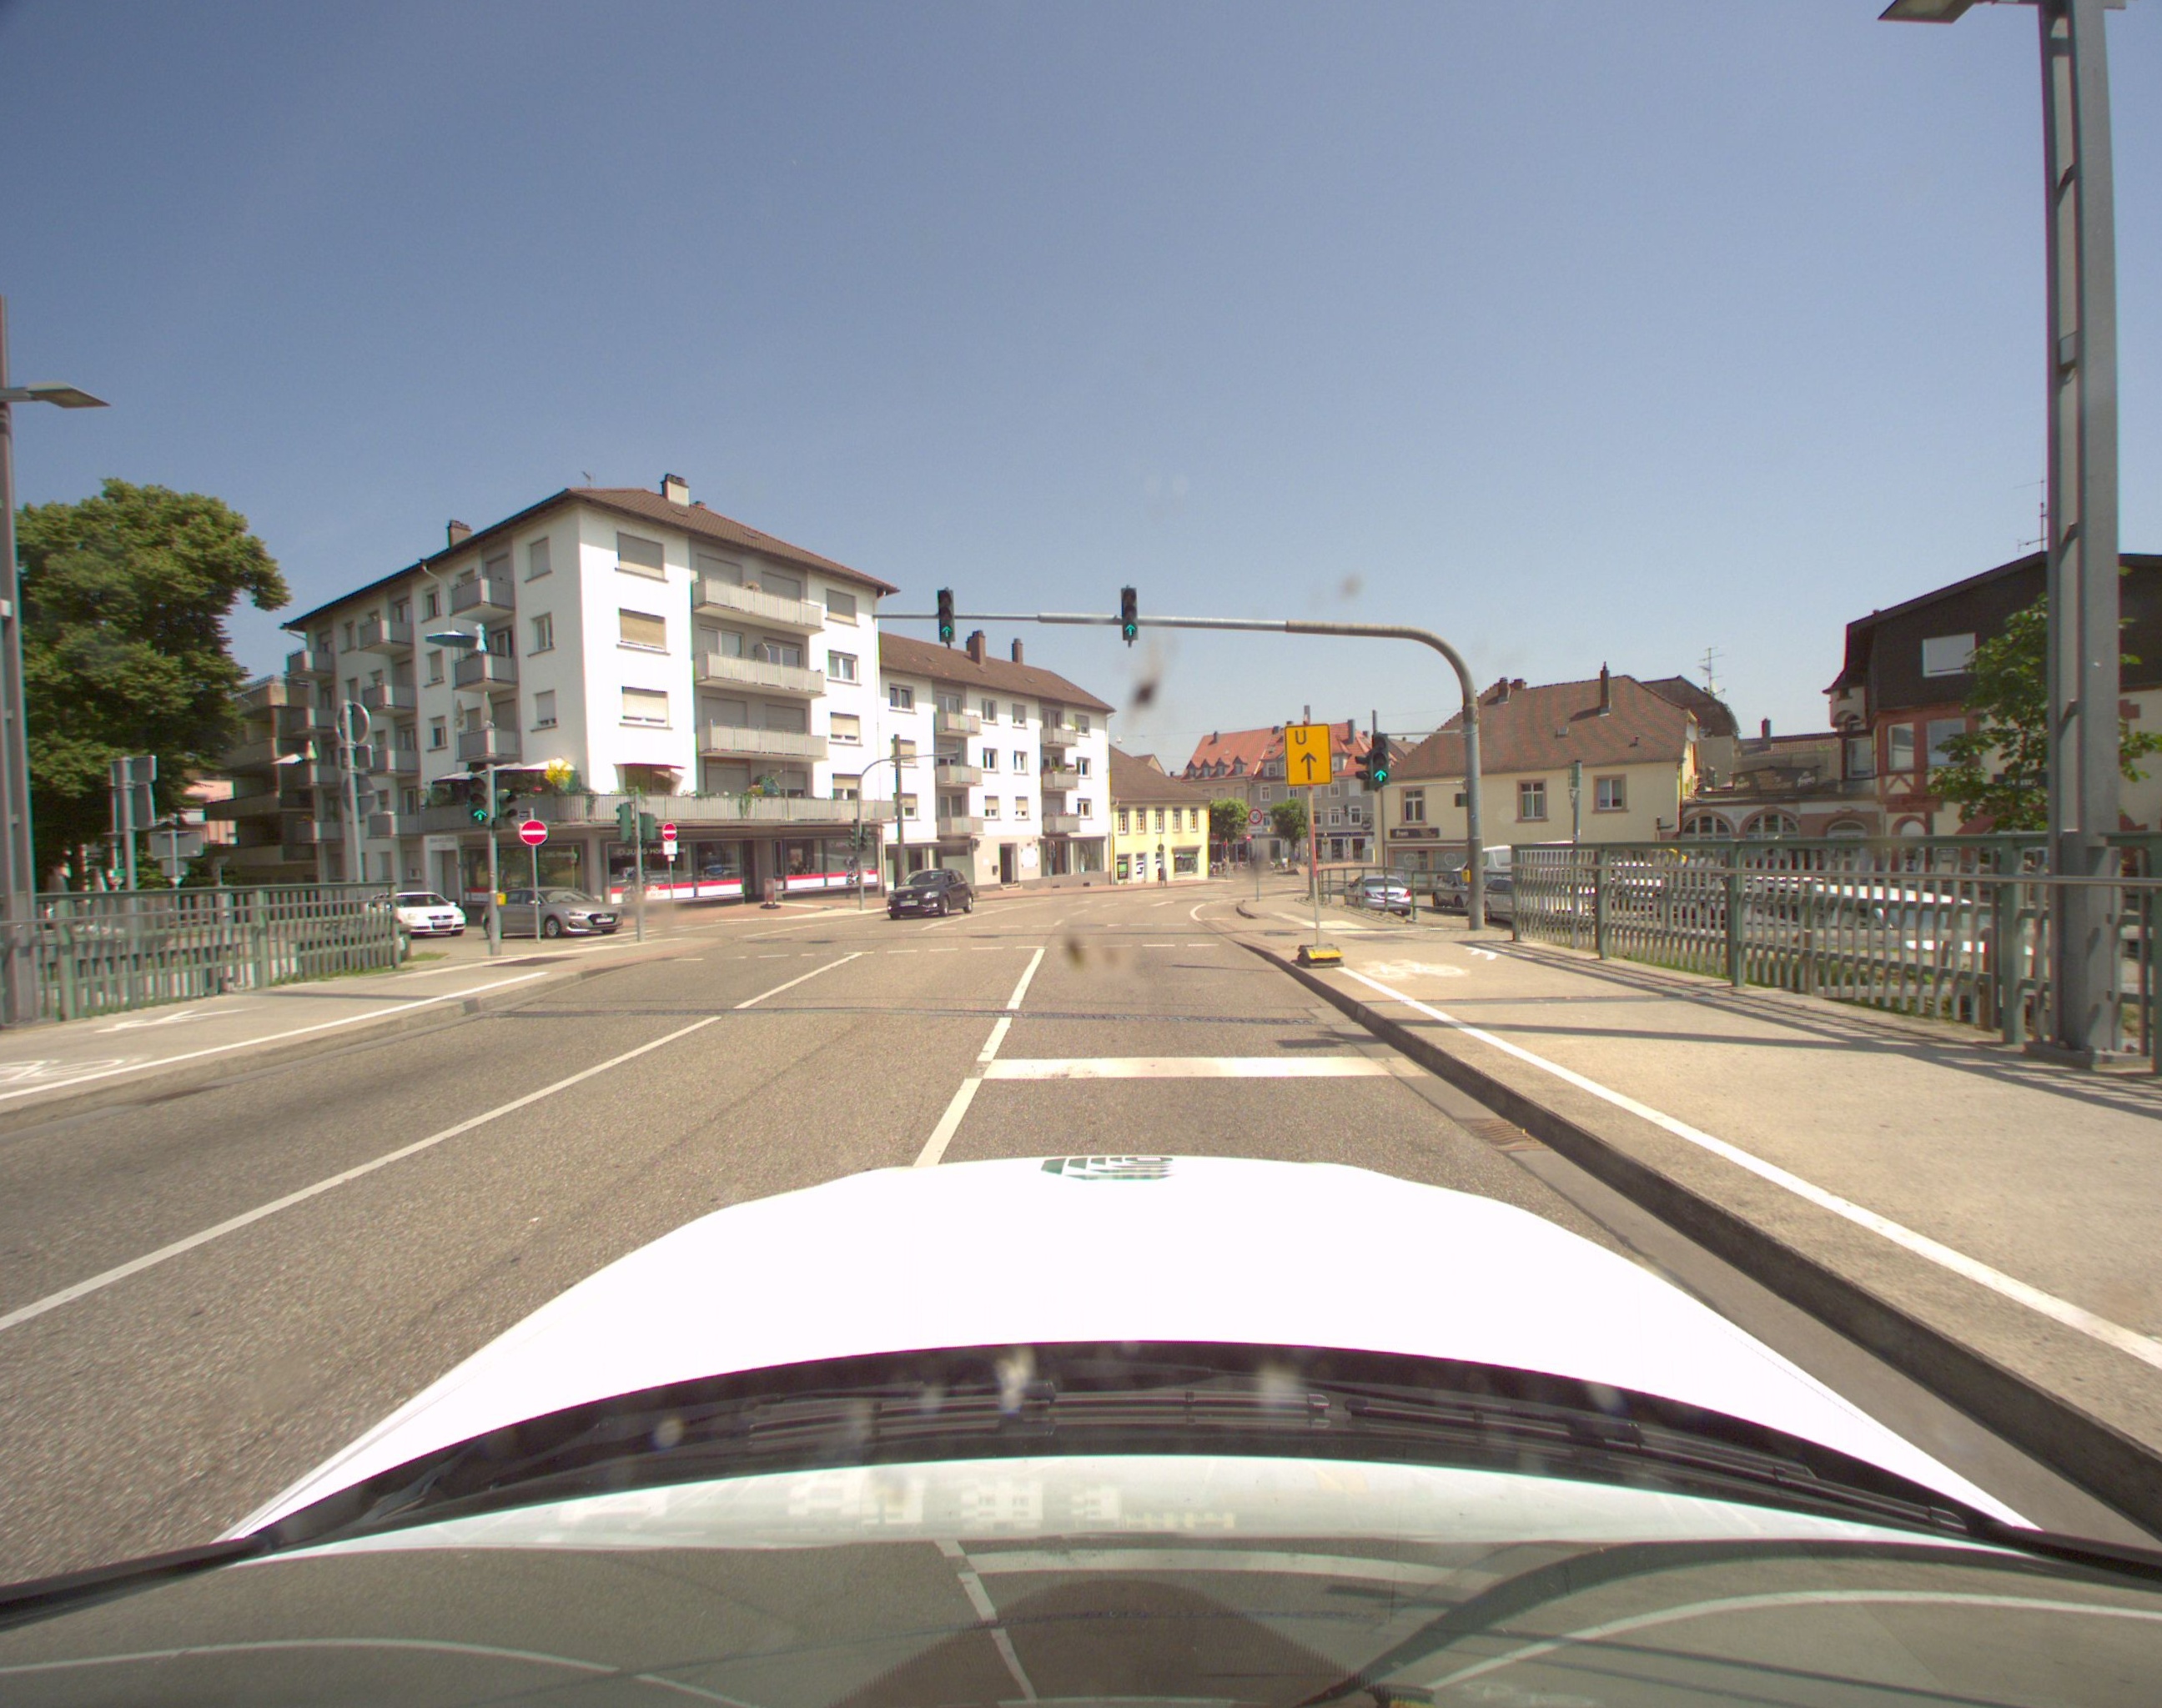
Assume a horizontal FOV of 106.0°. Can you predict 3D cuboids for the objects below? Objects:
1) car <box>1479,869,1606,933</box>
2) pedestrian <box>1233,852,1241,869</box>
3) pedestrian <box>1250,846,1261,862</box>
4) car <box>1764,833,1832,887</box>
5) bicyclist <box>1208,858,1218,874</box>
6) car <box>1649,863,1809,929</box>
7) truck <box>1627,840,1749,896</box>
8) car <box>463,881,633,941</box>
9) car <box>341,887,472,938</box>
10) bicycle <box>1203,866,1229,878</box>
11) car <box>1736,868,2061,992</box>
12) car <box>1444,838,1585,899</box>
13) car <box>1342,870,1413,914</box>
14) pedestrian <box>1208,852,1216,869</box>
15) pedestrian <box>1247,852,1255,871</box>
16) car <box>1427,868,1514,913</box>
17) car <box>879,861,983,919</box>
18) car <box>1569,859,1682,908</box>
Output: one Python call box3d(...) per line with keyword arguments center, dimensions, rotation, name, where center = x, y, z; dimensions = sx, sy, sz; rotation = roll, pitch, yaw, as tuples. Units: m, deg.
box3d(center=(14.019, 1.364, 25.056), dimensions=(1.917, 1.580, 4.497), rotation=(0, 1, 8), name="car")
box3d(center=(17.594, 0.724, 91.708), dimensions=(0.789, 1.965, 0.535), rotation=(0, 1, 22), name="pedestrian")
box3d(center=(22.742, 0.018, 106.297), dimensions=(1.020, 1.980, 1.027), rotation=(0, 1, 36), name="pedestrian")
box3d(center=(29.073, 0.187, 32.990), dimensions=(4.022, 2.013, 1.642), rotation=(-2, 2, -43), name="car")
box3d(center=(12.801, 1.141, 79.182), dimensions=(0.913, 1.538, 0.650), rotation=(0, 1, 2), name="bicyclist")
box3d(center=(18.726, 1.135, 23.817), dimensions=(1.742, 1.705, 4.263), rotation=(0, 0, 8), name="car")
box3d(center=(25.481, 0.537, 34.308), dimensions=(4.017, 2.215, 1.825), rotation=(0, 1, 36), name="truck")
box3d(center=(-15.242, 1.630, 23.317), dimensions=(4.334, 1.420, 1.711), rotation=(-3, 1, 19), name="car")
box3d(center=(-21.558, 1.865, 25.995), dimensions=(4.329, 1.420, 1.713), rotation=(-3, 1, 29), name="car")
box3d(center=(13.157, 1.739, 79.216), dimensions=(2.346, 1.051, 1.072), rotation=(0, 1, 1), name="bicycle")
box3d(center=(14.221, 1.191, 14.616), dimensions=(1.883, 1.711, 4.344), rotation=(0, 1, 8), name="car")
box3d(center=(20.345, 0.646, 38.334), dimensions=(5.560, 2.628, 2.257), rotation=(-1, 1, 35), name="car")
box3d(center=(11.272, 1.397, 31.250), dimensions=(1.742, 1.471, 4.263), rotation=(0, 0, 8), name="car")
box3d(center=(14.603, 0.741, 91.003), dimensions=(0.823, 1.873, 0.868), rotation=(0, 1, 6), name="pedestrian")
box3d(center=(18.673, 0.797, 89.428), dimensions=(0.763, 2.013, 0.564), rotation=(0, 1, 14), name="pedestrian")
box3d(center=(14.470, 1.309, 30.492), dimensions=(1.742, 1.519, 4.263), rotation=(0, 0, 8), name="car")
box3d(center=(-4.359, 1.045, 24.291), dimensions=(1.666, 1.488, 3.966), rotation=(-3, -2, 10), name="car")
box3d(center=(19.667, 1.016, 29.652), dimensions=(1.742, 1.643, 4.263), rotation=(0, 0, 8), name="car")
